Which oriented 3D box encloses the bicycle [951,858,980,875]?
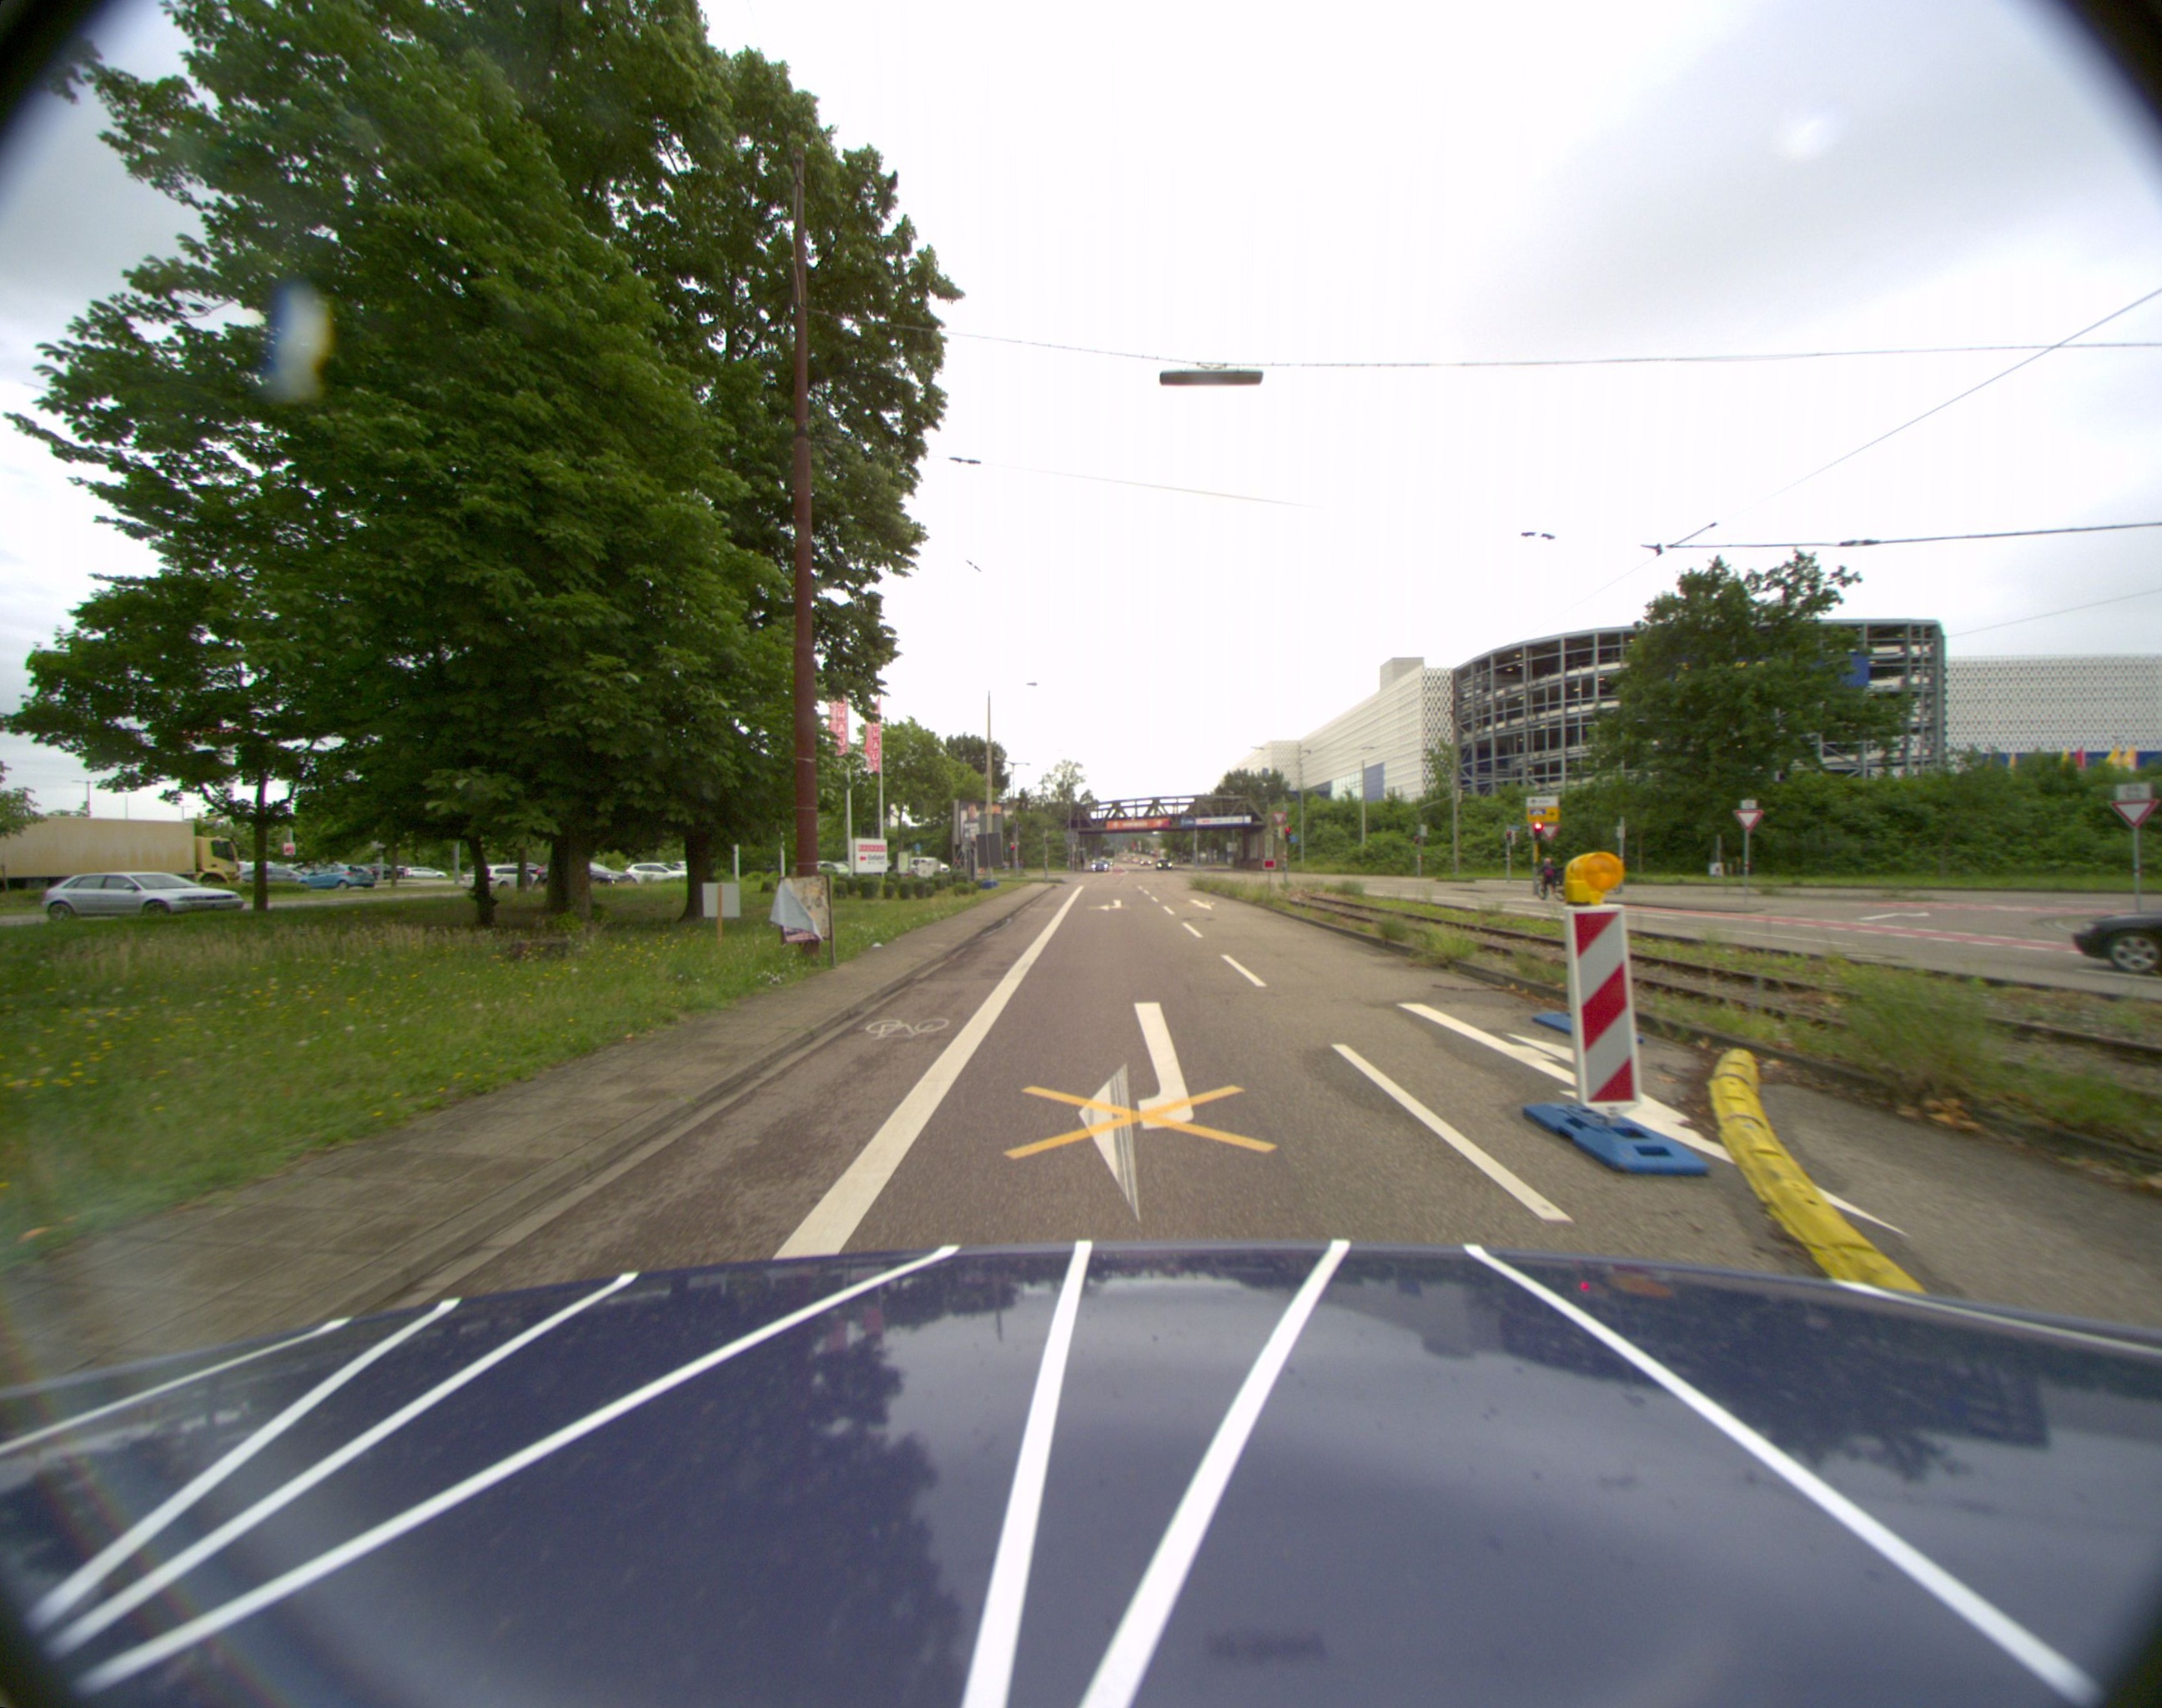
[{"bbox_3d":[-7.913,0.842,52.149,1.890,1.142,0.583,0,0,19],"label":"bicycle"}]

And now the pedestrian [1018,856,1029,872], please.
[{"bbox_3d":[-6.216,1.080,82.152,0.745,1.630,0.776,-1,1,-44],"label":"pedestrian"}]

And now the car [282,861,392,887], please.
[{"bbox_3d":[-43.370,1.148,44.331,4.563,1.498,1.988,0,0,3],"label":"car"}]

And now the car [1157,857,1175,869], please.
[{"bbox_3d":[10.694,1.136,95.638,1.836,1.415,4.001,-2,0,2],"label":"car"}]

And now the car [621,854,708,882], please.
[{"bbox_3d":[-25.618,0.823,46.868,4.232,1.488,1.931,-2,1,-2],"label":"car"}]

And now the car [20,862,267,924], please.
[{"bbox_3d":[-26.684,1.080,21.774,4.456,1.488,1.931,-2,1,-2],"label":"car"}]

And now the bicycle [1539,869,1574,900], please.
[{"bbox_3d":[17.927,1.129,28.687,0.646,1.056,2.027,-2,0,18],"label":"bicycle"}]

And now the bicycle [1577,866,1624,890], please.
[{"bbox_3d":[23.877,1.084,34.969,0.647,1.056,2.000,-2,0,-4],"label":"bicycle"}]

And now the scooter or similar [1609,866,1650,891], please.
[{"bbox_3d":[23.986,1.066,33.242,0.647,1.056,1.449,-2,0,-4],"label":"scooter or similar"}]

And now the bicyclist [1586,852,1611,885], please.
[{"bbox_3d":[23.854,0.674,35.027,0.647,1.509,0.626,-2,0,-4],"label":"bicyclist"}]

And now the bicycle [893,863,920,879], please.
[{"bbox_3d":[-12.285,1.199,53.461,1.811,1.111,0.487,0,1,-36],"label":"bicycle"}]

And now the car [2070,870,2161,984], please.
[{"bbox_3d":[15.052,0.961,8.631,1.824,1.464,4.425,0,0,-2],"label":"car"}]

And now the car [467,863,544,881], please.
[{"bbox_3d":[-57.451,1.749,75.982,2.149,1.667,5.738,0,0,33],"label":"car"}]

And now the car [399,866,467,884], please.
[{"bbox_3d":[-74.868,2.398,87.924,2.149,1.883,5.738,0,0,42],"label":"car"}]

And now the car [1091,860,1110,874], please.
[{"bbox_3d":[2.309,1.551,90.817,1.788,1.637,3.998,0,0,-4],"label":"car"}]

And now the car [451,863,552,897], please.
[{"bbox_3d":[-32.499,1.398,42.791,1.998,1.661,4.506,-2,1,4],"label":"car"}]

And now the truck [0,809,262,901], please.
[{"bbox_3d":[-43.127,0.051,33.830,2.946,3.543,9.250,-2,1,2],"label":"truck"}]

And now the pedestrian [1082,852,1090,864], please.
[{"bbox_3d":[0.691,0.562,107.093,0.785,1.749,0.876,-1,0,30],"label":"pedestrian"}]

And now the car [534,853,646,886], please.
[{"bbox_3d":[-26.241,0.815,40.730,4.611,1.488,1.931,-2,1,-2],"label":"car"}]

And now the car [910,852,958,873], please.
[{"bbox_3d":[-13.717,0.770,70.798,4.408,1.818,1.884,0,2,35],"label":"car"}]

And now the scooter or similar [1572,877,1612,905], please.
[{"bbox_3d":[17.974,1.287,26.752,0.845,0.902,1.199,-2,0,18],"label":"scooter or similar"}]

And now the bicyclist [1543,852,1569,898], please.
[{"bbox_3d":[17.900,0.780,28.656,0.646,1.673,0.686,-2,0,18],"label":"bicyclist"}]

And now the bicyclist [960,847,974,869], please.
[{"bbox_3d":[-7.831,0.295,52.101,0.758,1.511,0.583,0,0,19],"label":"bicyclist"}]

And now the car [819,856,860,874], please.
[{"bbox_3d":[-23.506,1.080,73.971,3.989,1.524,1.788,-2,1,38],"label":"car"}]
